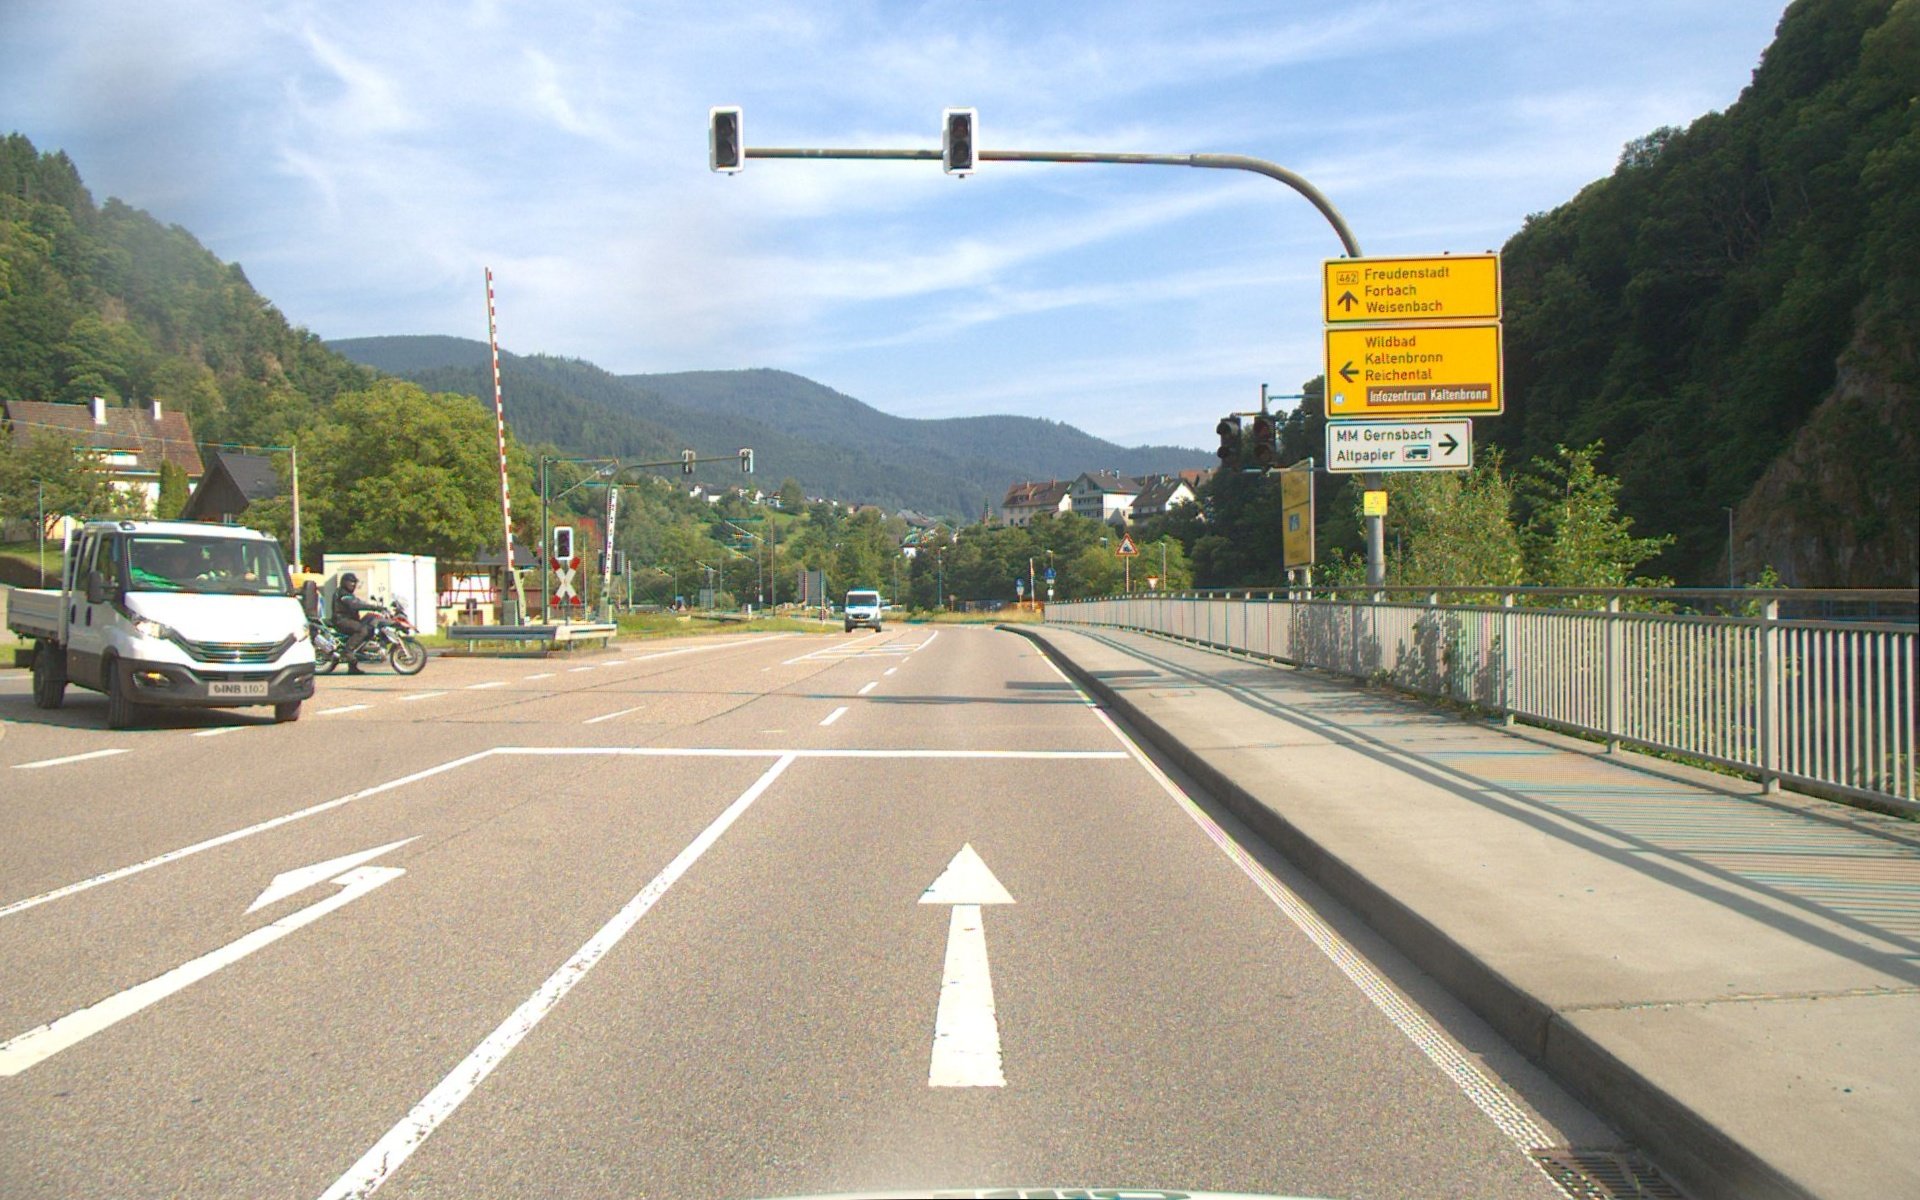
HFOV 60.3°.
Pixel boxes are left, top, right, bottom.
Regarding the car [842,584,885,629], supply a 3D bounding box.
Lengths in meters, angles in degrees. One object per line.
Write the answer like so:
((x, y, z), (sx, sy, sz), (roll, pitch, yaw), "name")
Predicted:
((-5.431, 0.338, 94.034), (2.076, 2.479, 5.228), (0, 0, 1), "car")

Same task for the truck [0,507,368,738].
((-9.473, 0.218, 19.694), (2.434, 2.305, 6.184), (0, 0, -42), "truck")

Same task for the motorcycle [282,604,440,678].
((-10.632, 0.721, 29.481), (2.542, 1.290, 1.001), (1, 0, -15), "motorcycle")

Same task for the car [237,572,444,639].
((-23.861, 0.214, 63.810), (6.913, 2.500, 2.951), (0, 0, 9), "car")

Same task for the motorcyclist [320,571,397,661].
((-10.706, 0.283, 29.469), (1.162, 1.571, 0.988), (1, 0, -14), "motorcyclist")
